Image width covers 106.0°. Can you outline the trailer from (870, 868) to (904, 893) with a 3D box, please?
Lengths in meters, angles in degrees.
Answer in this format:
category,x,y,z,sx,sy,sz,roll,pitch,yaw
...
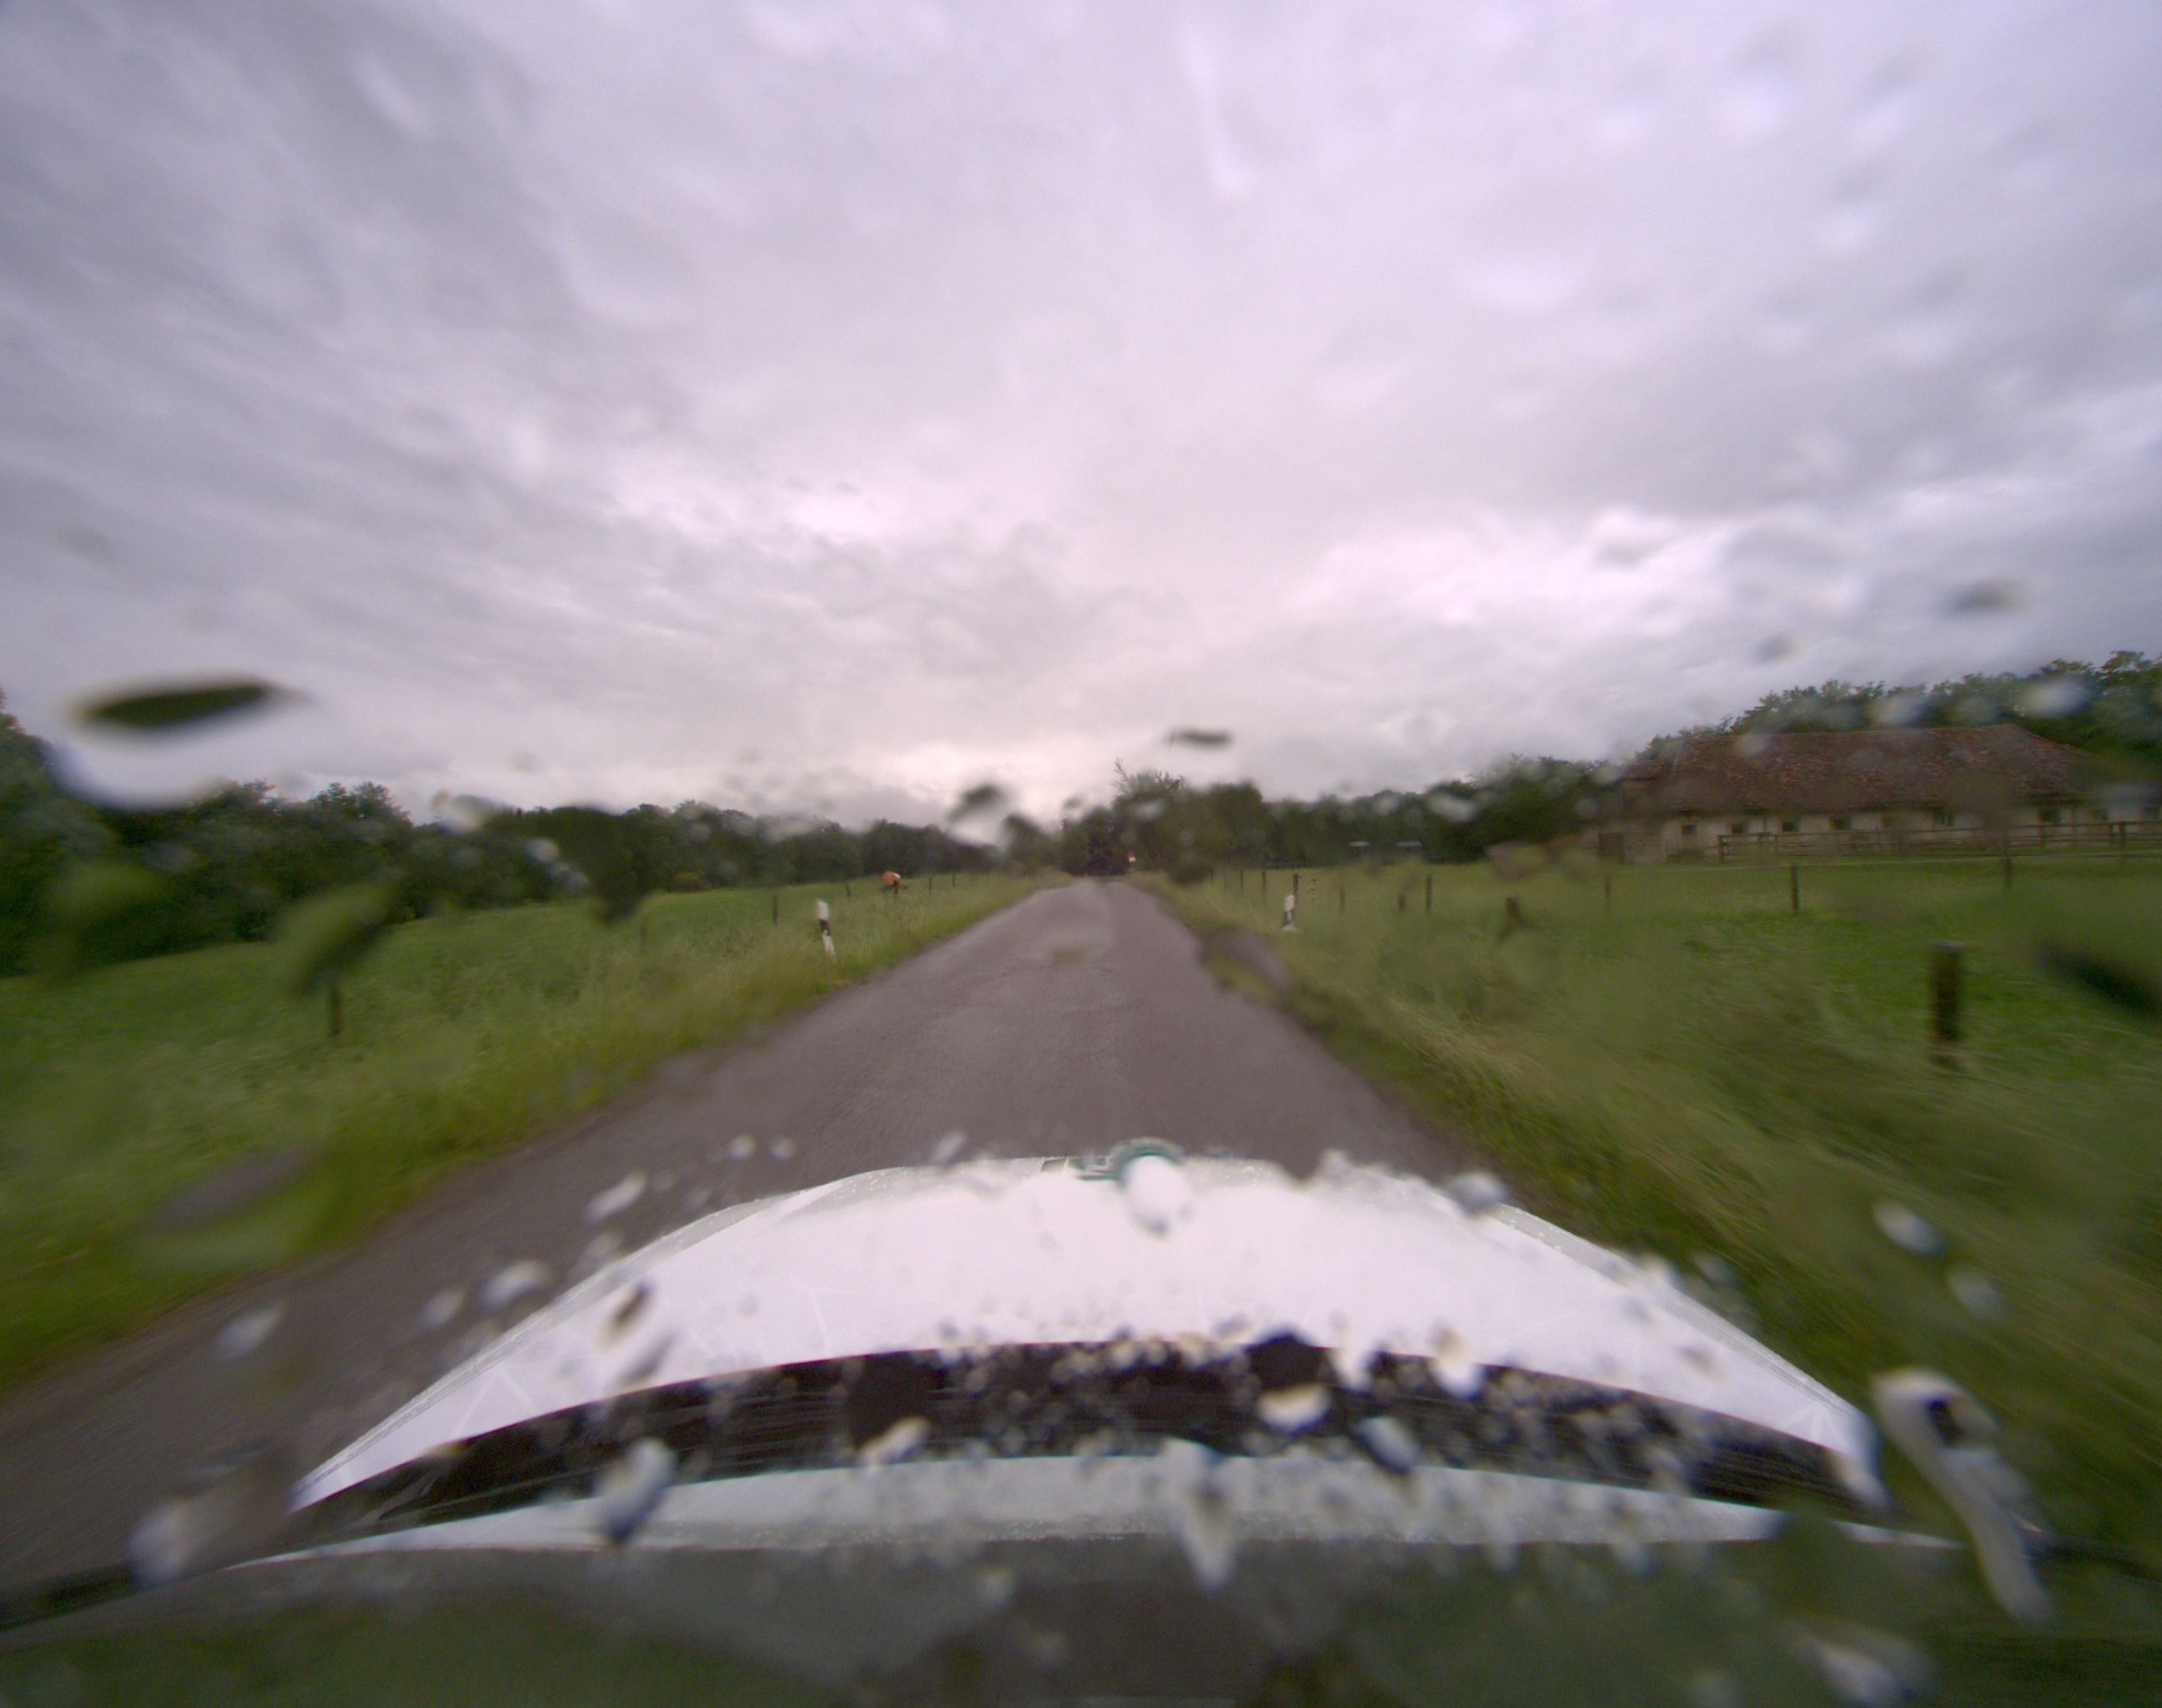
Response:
category,x,y,z,sx,sy,sz,roll,pitch,yaw
trailer,-12.287,1.649,51.735,1.751,1.505,3.080,-2,-1,-9
